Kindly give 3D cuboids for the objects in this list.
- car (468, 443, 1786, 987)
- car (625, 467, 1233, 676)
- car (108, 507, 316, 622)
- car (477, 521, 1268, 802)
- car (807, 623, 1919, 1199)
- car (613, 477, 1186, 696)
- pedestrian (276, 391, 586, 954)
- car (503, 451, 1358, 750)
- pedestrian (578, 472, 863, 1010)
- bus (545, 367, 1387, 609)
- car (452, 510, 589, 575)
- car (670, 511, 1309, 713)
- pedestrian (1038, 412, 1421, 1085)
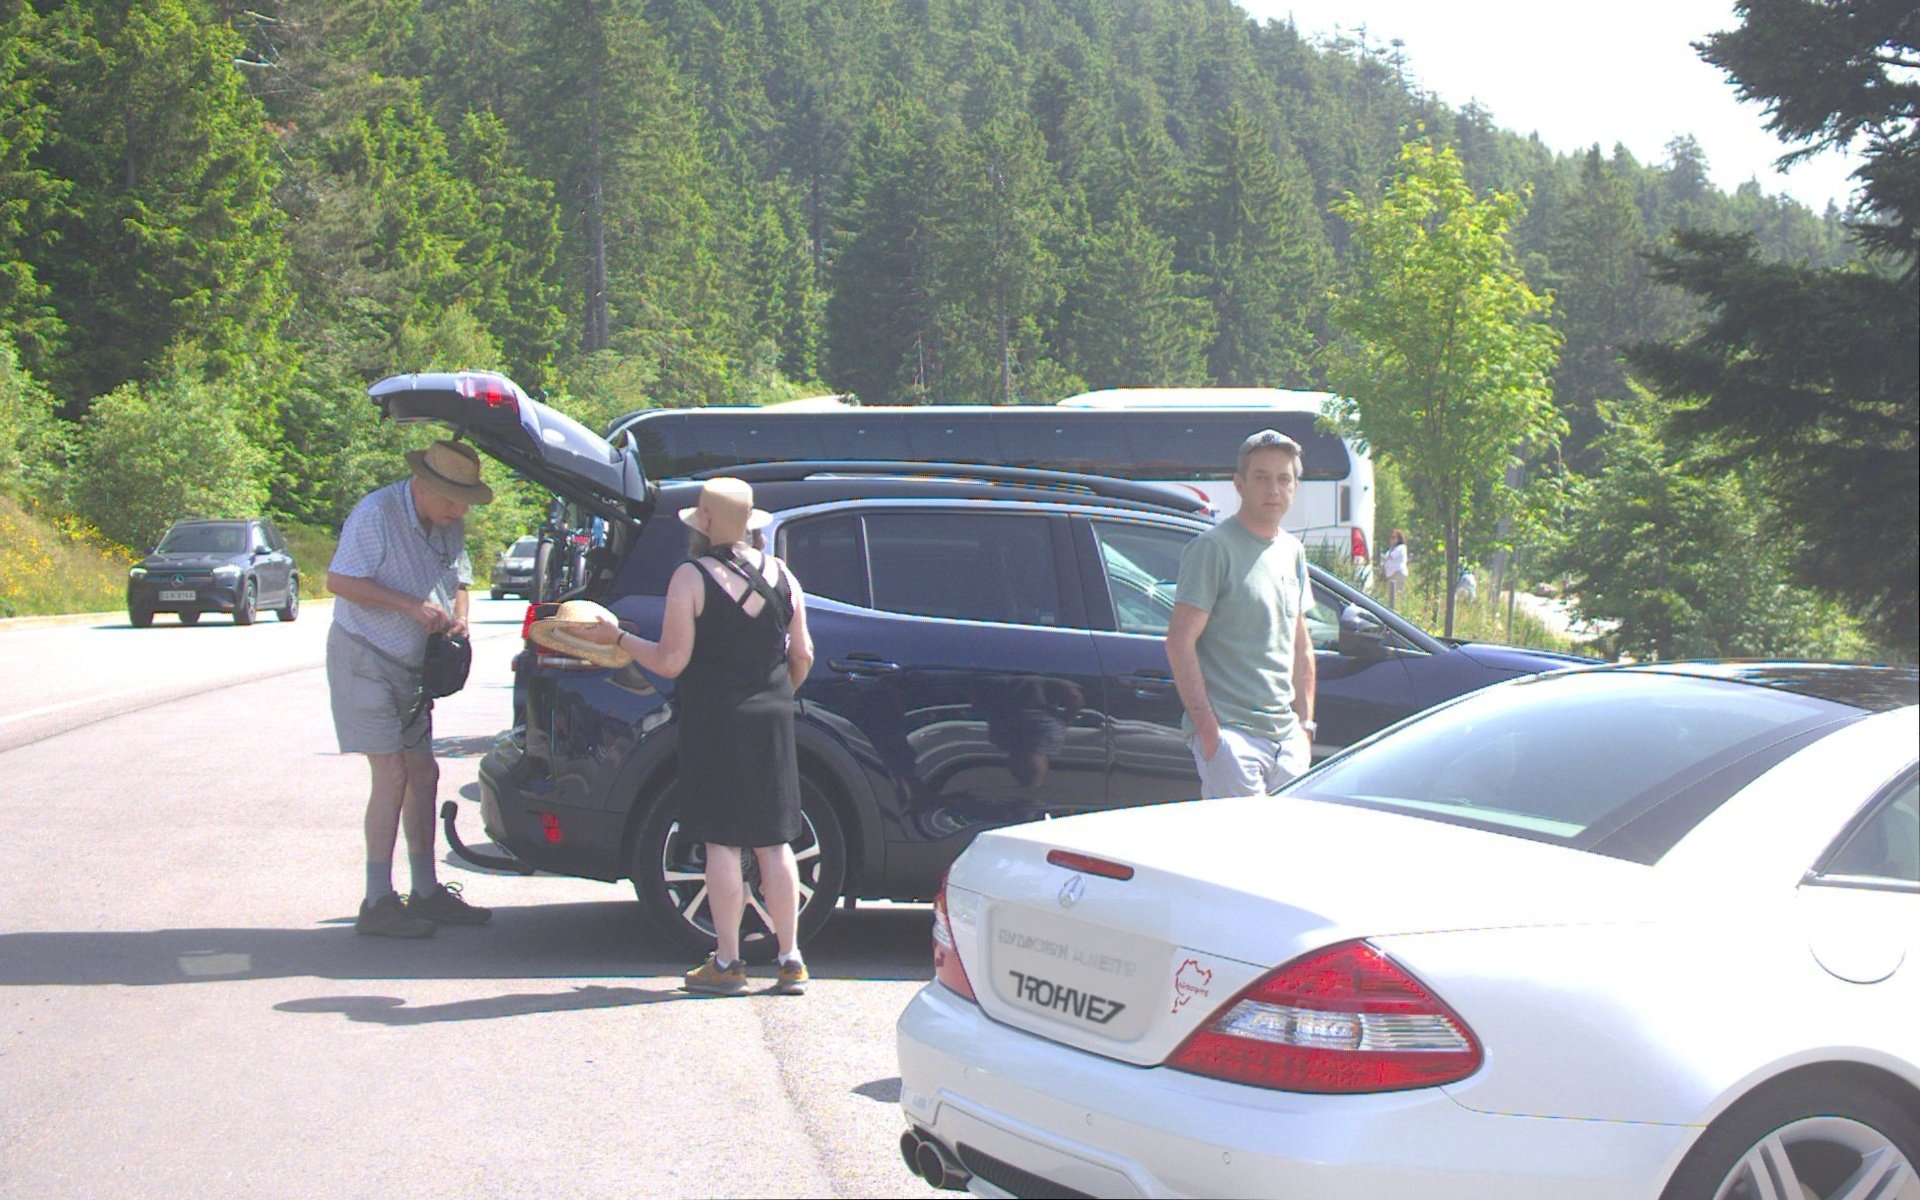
[{"bbox_3d":[0.476,0.391,12.247,4.343,1.620,1.870,3,0,-8],"label":"car"},{"bbox_3d":[-0.293,-0.265,29.625,5.033,1.645,2.048,-1,1,-3],"label":"car"},{"bbox_3d":[-11.583,-0.588,53.553,1.994,1.641,4.567,-1,2,3],"label":"car"},{"bbox_3d":[-0.538,0.312,18.705,4.080,1.372,1.703,1,1,-9],"label":"car"},{"bbox_3d":[2.083,0.784,6.773,4.397,1.291,1.756,2,2,-26],"label":"car"},{"bbox_3d":[-0.485,-0.125,26.499,4.243,1.548,1.838,-1,1,-3],"label":"car"},{"bbox_3d":[-1.832,0.218,11.945,0.736,1.864,0.757,3,4,27],"label":"pedestrian"},{"bbox_3d":[-0.175,-0.022,20.938,4.949,1.690,1.945,-1,2,-1],"label":"car"},{"bbox_3d":[-0.746,0.421,10.637,0.714,1.607,0.537,1,0,-23],"label":"pedestrian"},{"bbox_3d":[0.187,-1.749,54.834,13.097,3.520,3.043,-1,1,8],"label":"bus"},{"bbox_3d":[-10.237,-1.359,80.422,1.880,1.469,4.712,0,1,10],"label":"car"},{"bbox_3d":[0.164,0.053,23.843,4.243,1.264,1.838,-1,1,-3],"label":"car"},{"bbox_3d":[0.753,0.392,9.671,0.746,1.794,0.736,1,0,-35],"label":"pedestrian"}]
